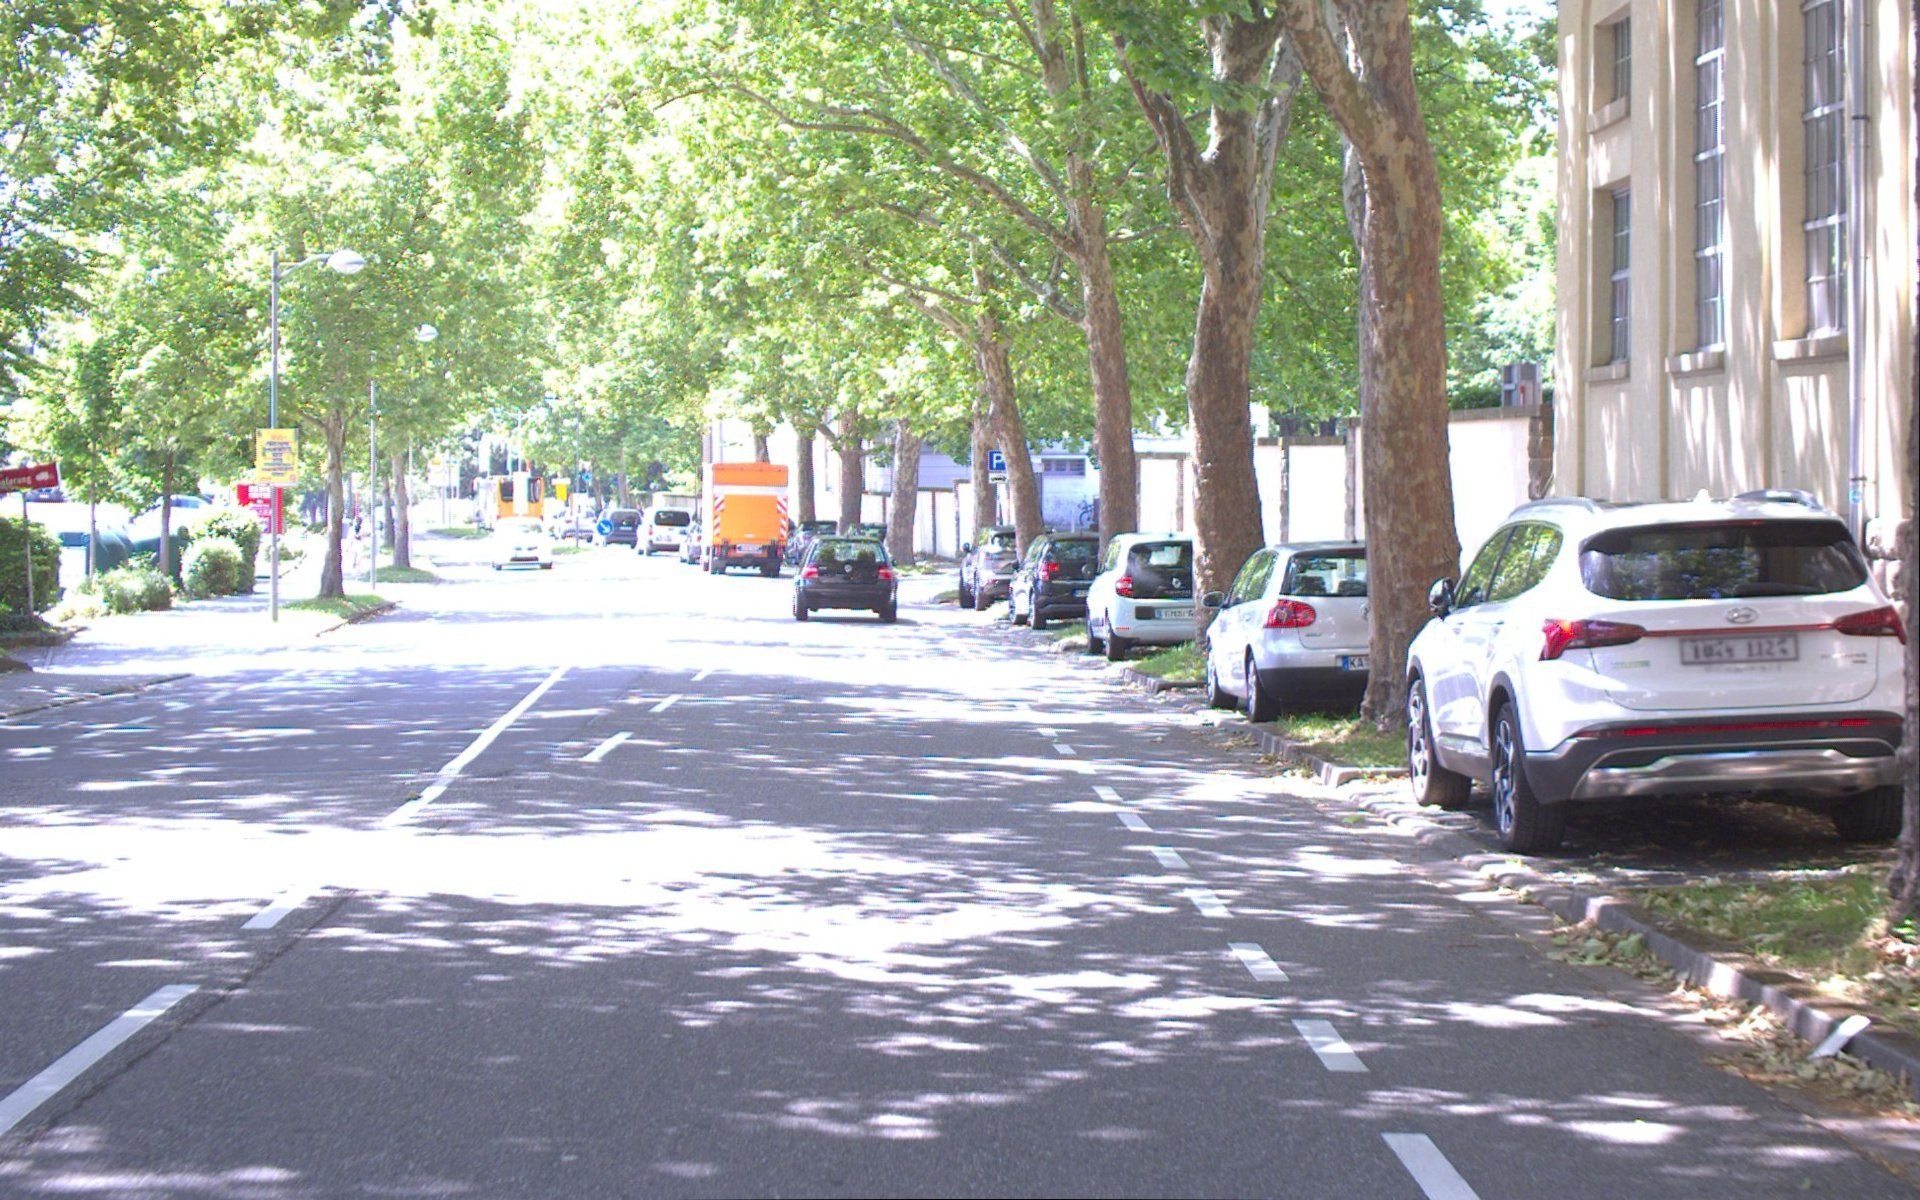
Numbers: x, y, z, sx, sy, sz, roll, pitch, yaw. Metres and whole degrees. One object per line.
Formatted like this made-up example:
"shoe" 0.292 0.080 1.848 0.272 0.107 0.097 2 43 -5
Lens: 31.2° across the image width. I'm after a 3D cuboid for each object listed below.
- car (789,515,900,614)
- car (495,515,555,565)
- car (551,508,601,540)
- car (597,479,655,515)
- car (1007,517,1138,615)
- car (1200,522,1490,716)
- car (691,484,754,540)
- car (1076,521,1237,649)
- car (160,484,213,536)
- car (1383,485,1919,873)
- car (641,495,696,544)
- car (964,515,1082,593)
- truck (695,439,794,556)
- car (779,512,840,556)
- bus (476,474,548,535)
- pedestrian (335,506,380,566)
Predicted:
"car" -2.005 -0.638 58.740 1.711 1.442 4.059 -1 4 -4
"car" -13.049 -1.809 103.260 1.710 1.442 4.059 -1 1 -6
"car" -17.326 -3.424 155.086 1.766 1.369 3.731 -2 2 -13
"car" -13.497 -4.144 138.895 1.766 1.369 3.731 -2 2 -14
"car" 1.782 -0.570 55.449 1.766 1.461 3.876 -2 2 -2
"car" 3.111 0.104 28.489 1.766 1.428 3.876 -2 2 -2
"car" -7.602 -2.791 109.848 1.776 1.698 4.001 -1 0 -7
"car" 2.414 -0.223 42.972 1.577 1.461 3.876 -2 2 -2
"car" -31.455 -3.644 139.720 1.993 2.007 4.001 -1 0 -14
"car" 3.451 0.293 17.802 1.808 1.683 4.752 -2 1 -1
"car" -10.498 -2.886 123.787 1.879 1.680 4.001 -1 0 -6
"car" 1.165 -0.896 65.287 1.766 1.369 3.731 -2 2 -6
"truck" -6.133 -2.859 97.219 2.370 3.123 5.770 -1 0 -7
"car" -4.969 -2.177 113.387 1.766 1.369 3.731 -2 2 -6
"bus" -24.268 -5.107 185.742 2.663 3.139 11.201 -1 1 -13
"pedestrian" -15.356 -1.633 87.652 1.093 1.515 0.970 0 1 -9
